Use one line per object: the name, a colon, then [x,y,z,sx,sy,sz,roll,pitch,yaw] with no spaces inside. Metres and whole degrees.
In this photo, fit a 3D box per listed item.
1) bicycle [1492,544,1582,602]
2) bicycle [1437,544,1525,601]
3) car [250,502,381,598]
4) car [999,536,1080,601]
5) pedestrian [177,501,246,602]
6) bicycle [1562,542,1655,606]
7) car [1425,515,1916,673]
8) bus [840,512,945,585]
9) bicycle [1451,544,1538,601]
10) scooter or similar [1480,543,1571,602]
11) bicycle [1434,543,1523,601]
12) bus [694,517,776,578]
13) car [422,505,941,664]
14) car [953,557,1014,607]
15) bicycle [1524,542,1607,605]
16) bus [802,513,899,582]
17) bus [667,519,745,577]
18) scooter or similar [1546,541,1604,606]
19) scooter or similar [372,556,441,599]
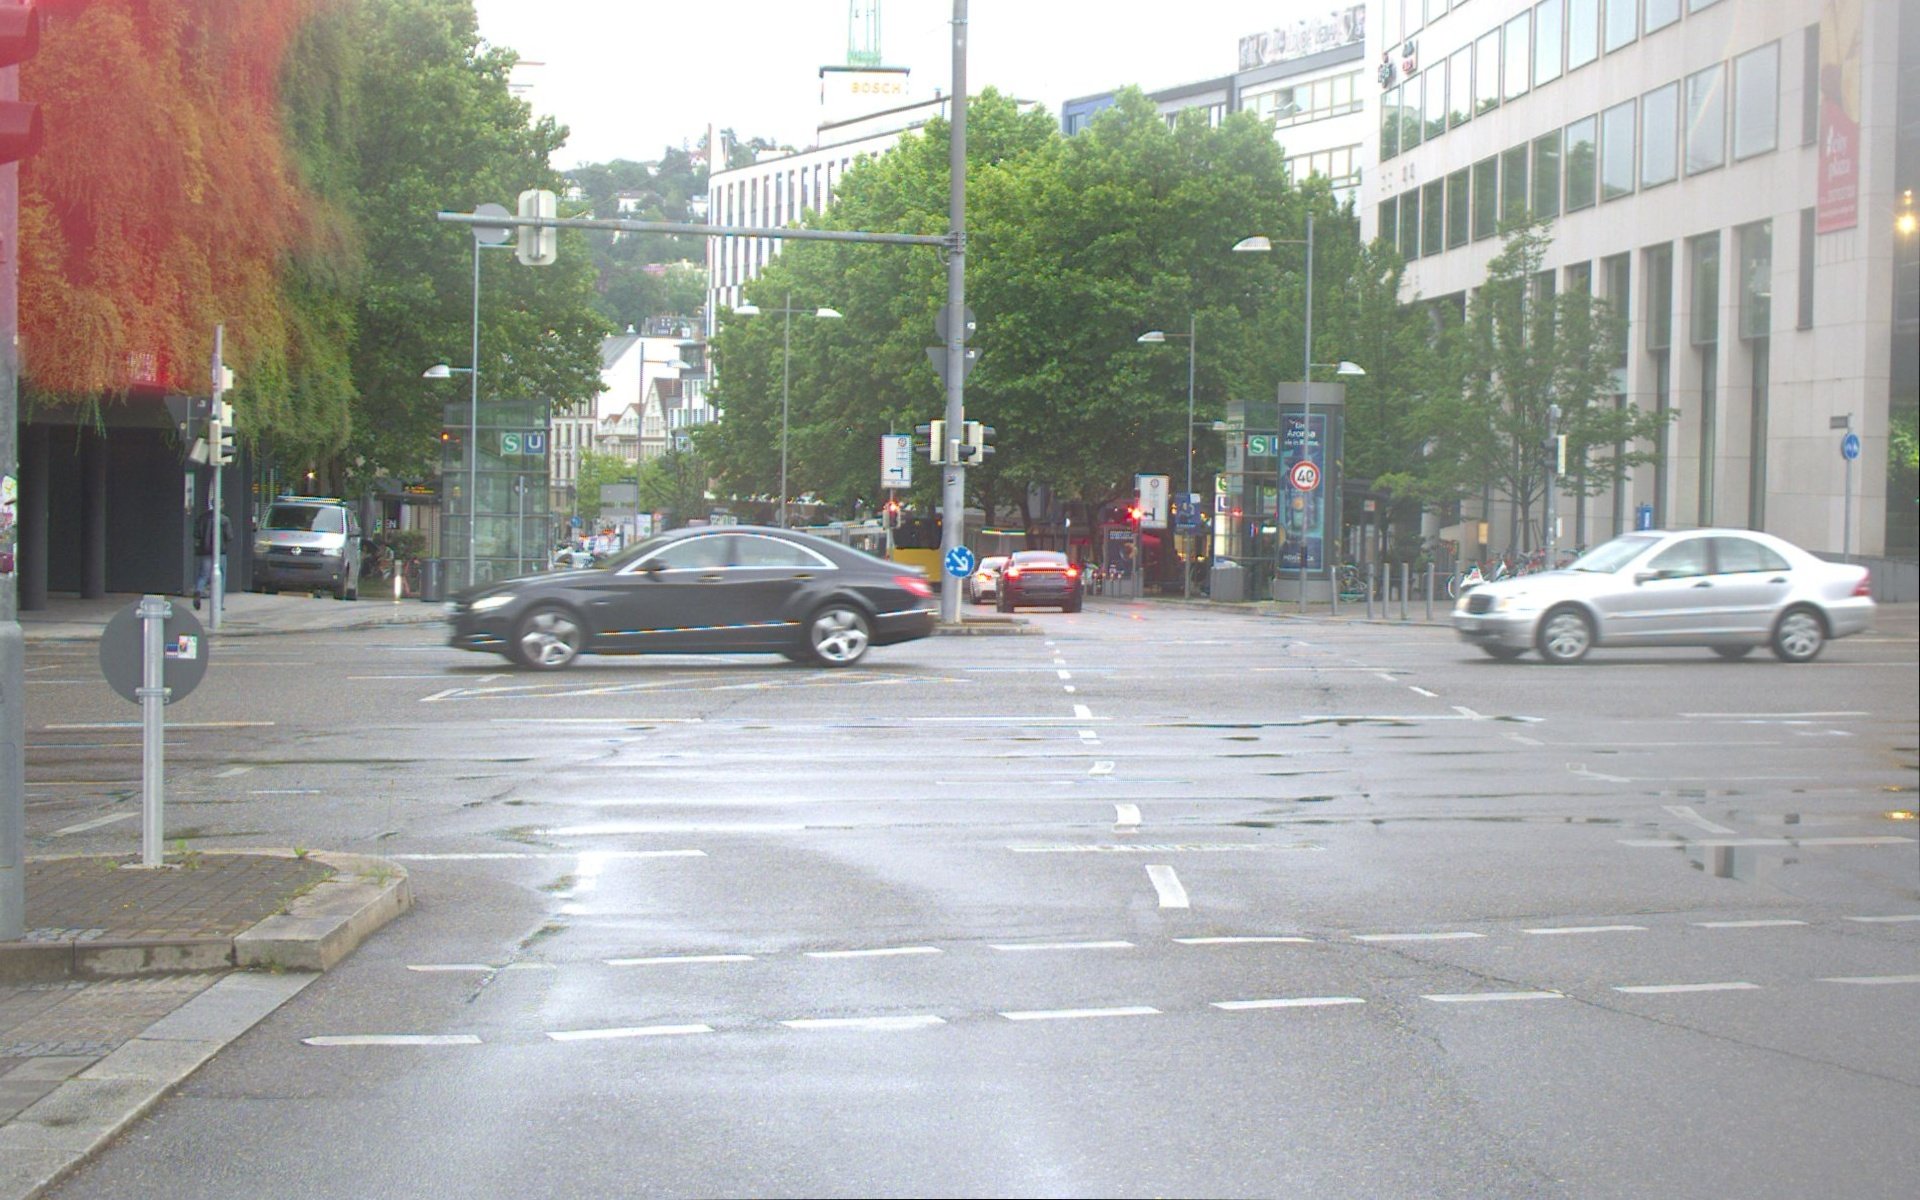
bicycle: [12.021,-0.561,71.615,1.777,1.190,0.586,1,0,2]
bicycle: [11.122,-0.592,73.418,1.777,1.190,0.586,1,0,2]
car: [-12.779,-0.982,68.337,1.870,1.833,4.000,1,1,-1]
car: [1.893,-0.764,82.542,1.781,1.503,4.000,1,1,-1]
pedestrian: [-12.218,-0.790,56.131,0.933,1.638,0.774,1,0,-1]
bicycle: [12.233,-0.491,64.852,1.624,1.190,0.586,1,0,26]
car: [7.619,-0.072,37.016,4.717,1.472,2.001,2,1,-13]
bus: [-2.908,-2.211,145.949,2.627,2.985,7.451,0,1,-16]
bicycle: [11.550,-0.595,74.335,1.777,1.190,0.586,1,0,2]
scooter or similar: [11.667,-0.560,70.992,1.777,1.190,0.586,1,0,2]
bicycle: [10.974,-0.588,72.783,1.777,1.190,0.586,1,0,2]
bus: [-11.366,-2.656,173.240,2.627,2.985,7.330,0,1,-16]
car: [-2.808,-0.125,34.416,4.845,1.472,2.000,1,-1,-17]
car: [0.709,-0.565,106.800,1.781,1.503,4.000,1,1,-1]
bicycle: [11.690,-0.514,66.405,0.584,1.190,1.784,1,1,-28]
bus: [-4.923,-2.362,153.095,2.627,2.985,7.451,0,1,-16]
bus: [-13.382,-2.764,180.337,2.627,2.985,7.451,0,1,-16]
scooter or similar: [11.479,-0.495,64.168,0.963,1.190,0.454,1,1,40]
scooter or similar: [-13.288,-0.540,82.555,0.623,1.001,1.657,1,1,38]
